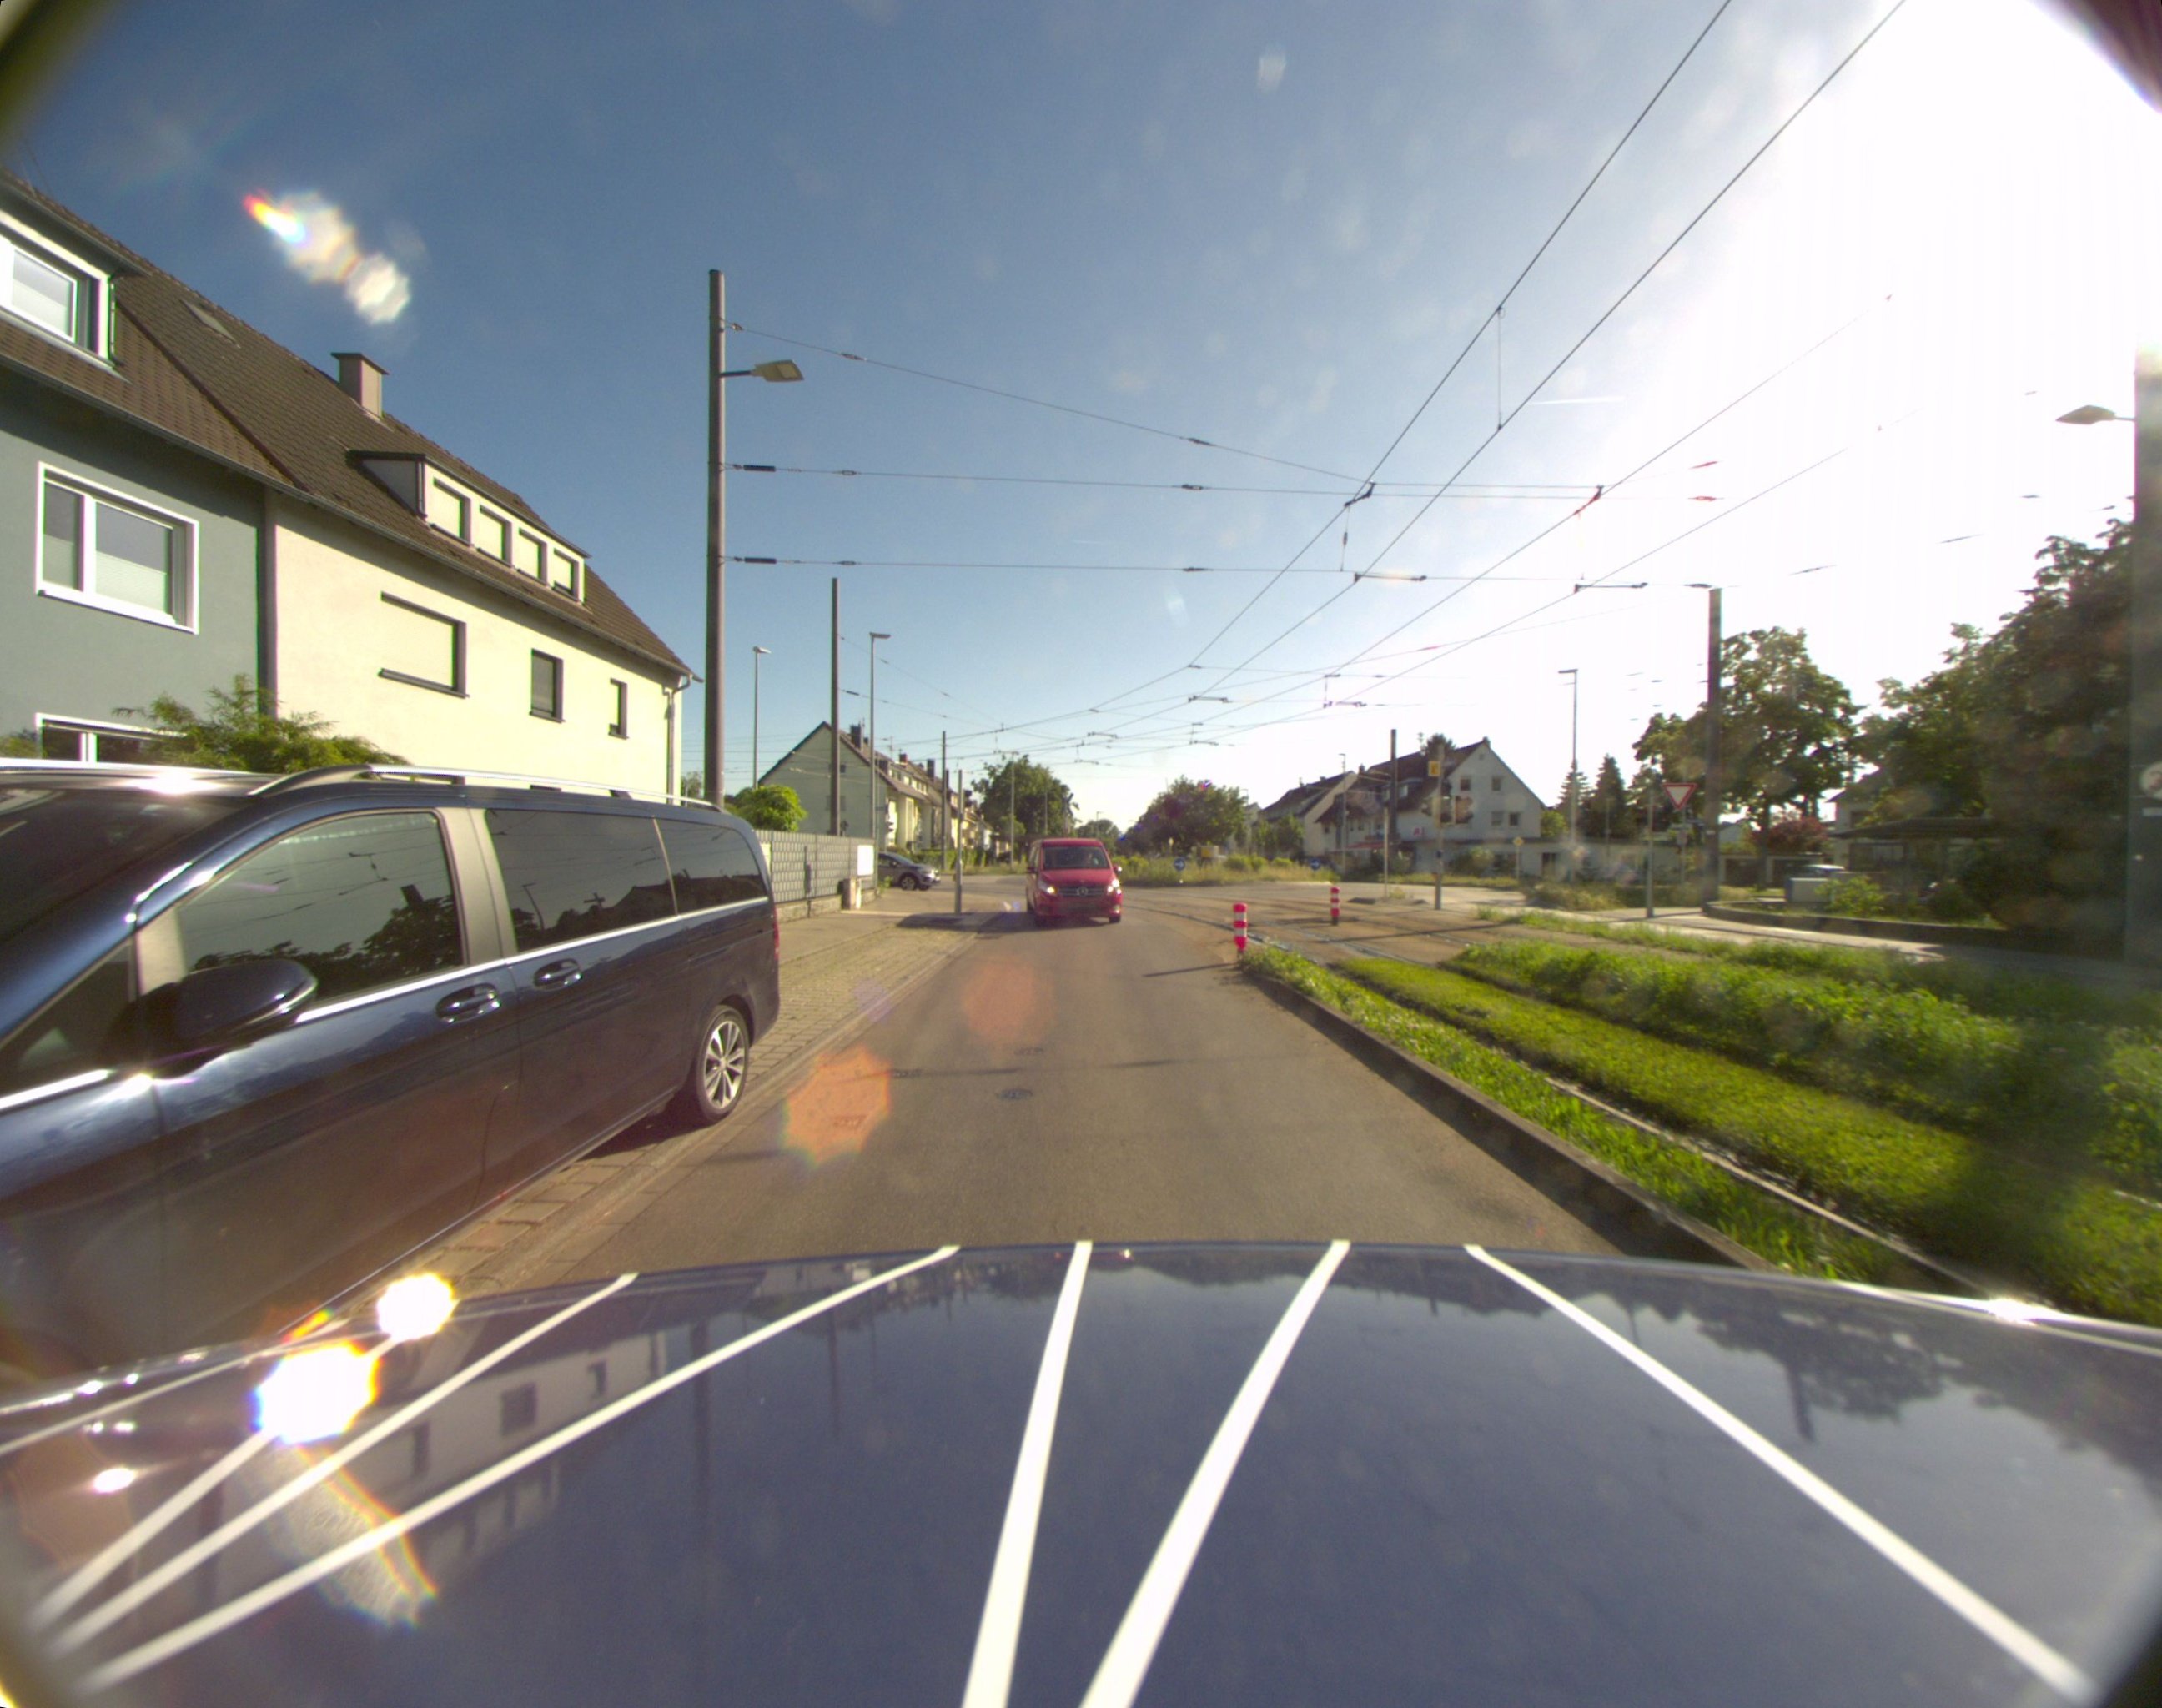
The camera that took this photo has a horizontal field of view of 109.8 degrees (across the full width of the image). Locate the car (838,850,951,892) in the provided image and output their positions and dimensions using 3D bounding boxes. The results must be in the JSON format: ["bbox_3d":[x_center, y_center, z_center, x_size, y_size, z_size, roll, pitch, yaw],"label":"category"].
[{"bbox_3d":[-7.436,0.644,30.454,3.995,1.570,1.832,1,0,5],"label":"car"}]

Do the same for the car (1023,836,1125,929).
[{"bbox_3d":[-0.344,0.605,19.170,2.000,1.970,5.234,-2,1,-6],"label":"car"}]

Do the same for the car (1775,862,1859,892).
[{"bbox_3d":[48.665,1.476,50.366,1.997,1.685,4.053,1,2,9],"label":"car"}]

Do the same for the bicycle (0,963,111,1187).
[{"bbox_3d":[-5.420,1.081,3.208,0.602,0.974,1.562,2,1,3],"label":"bicycle"}]

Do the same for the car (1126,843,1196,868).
[{"bbox_3d":[5.502,0.064,52.481,4.427,1.572,1.840,2,3,36],"label":"car"}]

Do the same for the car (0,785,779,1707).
[{"bbox_3d":[-3.038,0.763,2.600,1.966,1.825,4.927,1,0,1],"label":"car"}]

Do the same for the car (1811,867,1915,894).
[{"bbox_3d":[44.083,1.492,42.894,3.996,1.357,1.600,1,2,3],"label":"car"}]

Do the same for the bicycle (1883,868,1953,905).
[{"bbox_3d":[30.081,1.156,27.352,0.688,1.201,1.671,1,2,4],"label":"bicycle"}]

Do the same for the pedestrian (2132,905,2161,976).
[{"bbox_3d":[16.810,1.331,11.496,0.819,1.040,0.687,1,1,-2],"label":"pedestrian"}]
